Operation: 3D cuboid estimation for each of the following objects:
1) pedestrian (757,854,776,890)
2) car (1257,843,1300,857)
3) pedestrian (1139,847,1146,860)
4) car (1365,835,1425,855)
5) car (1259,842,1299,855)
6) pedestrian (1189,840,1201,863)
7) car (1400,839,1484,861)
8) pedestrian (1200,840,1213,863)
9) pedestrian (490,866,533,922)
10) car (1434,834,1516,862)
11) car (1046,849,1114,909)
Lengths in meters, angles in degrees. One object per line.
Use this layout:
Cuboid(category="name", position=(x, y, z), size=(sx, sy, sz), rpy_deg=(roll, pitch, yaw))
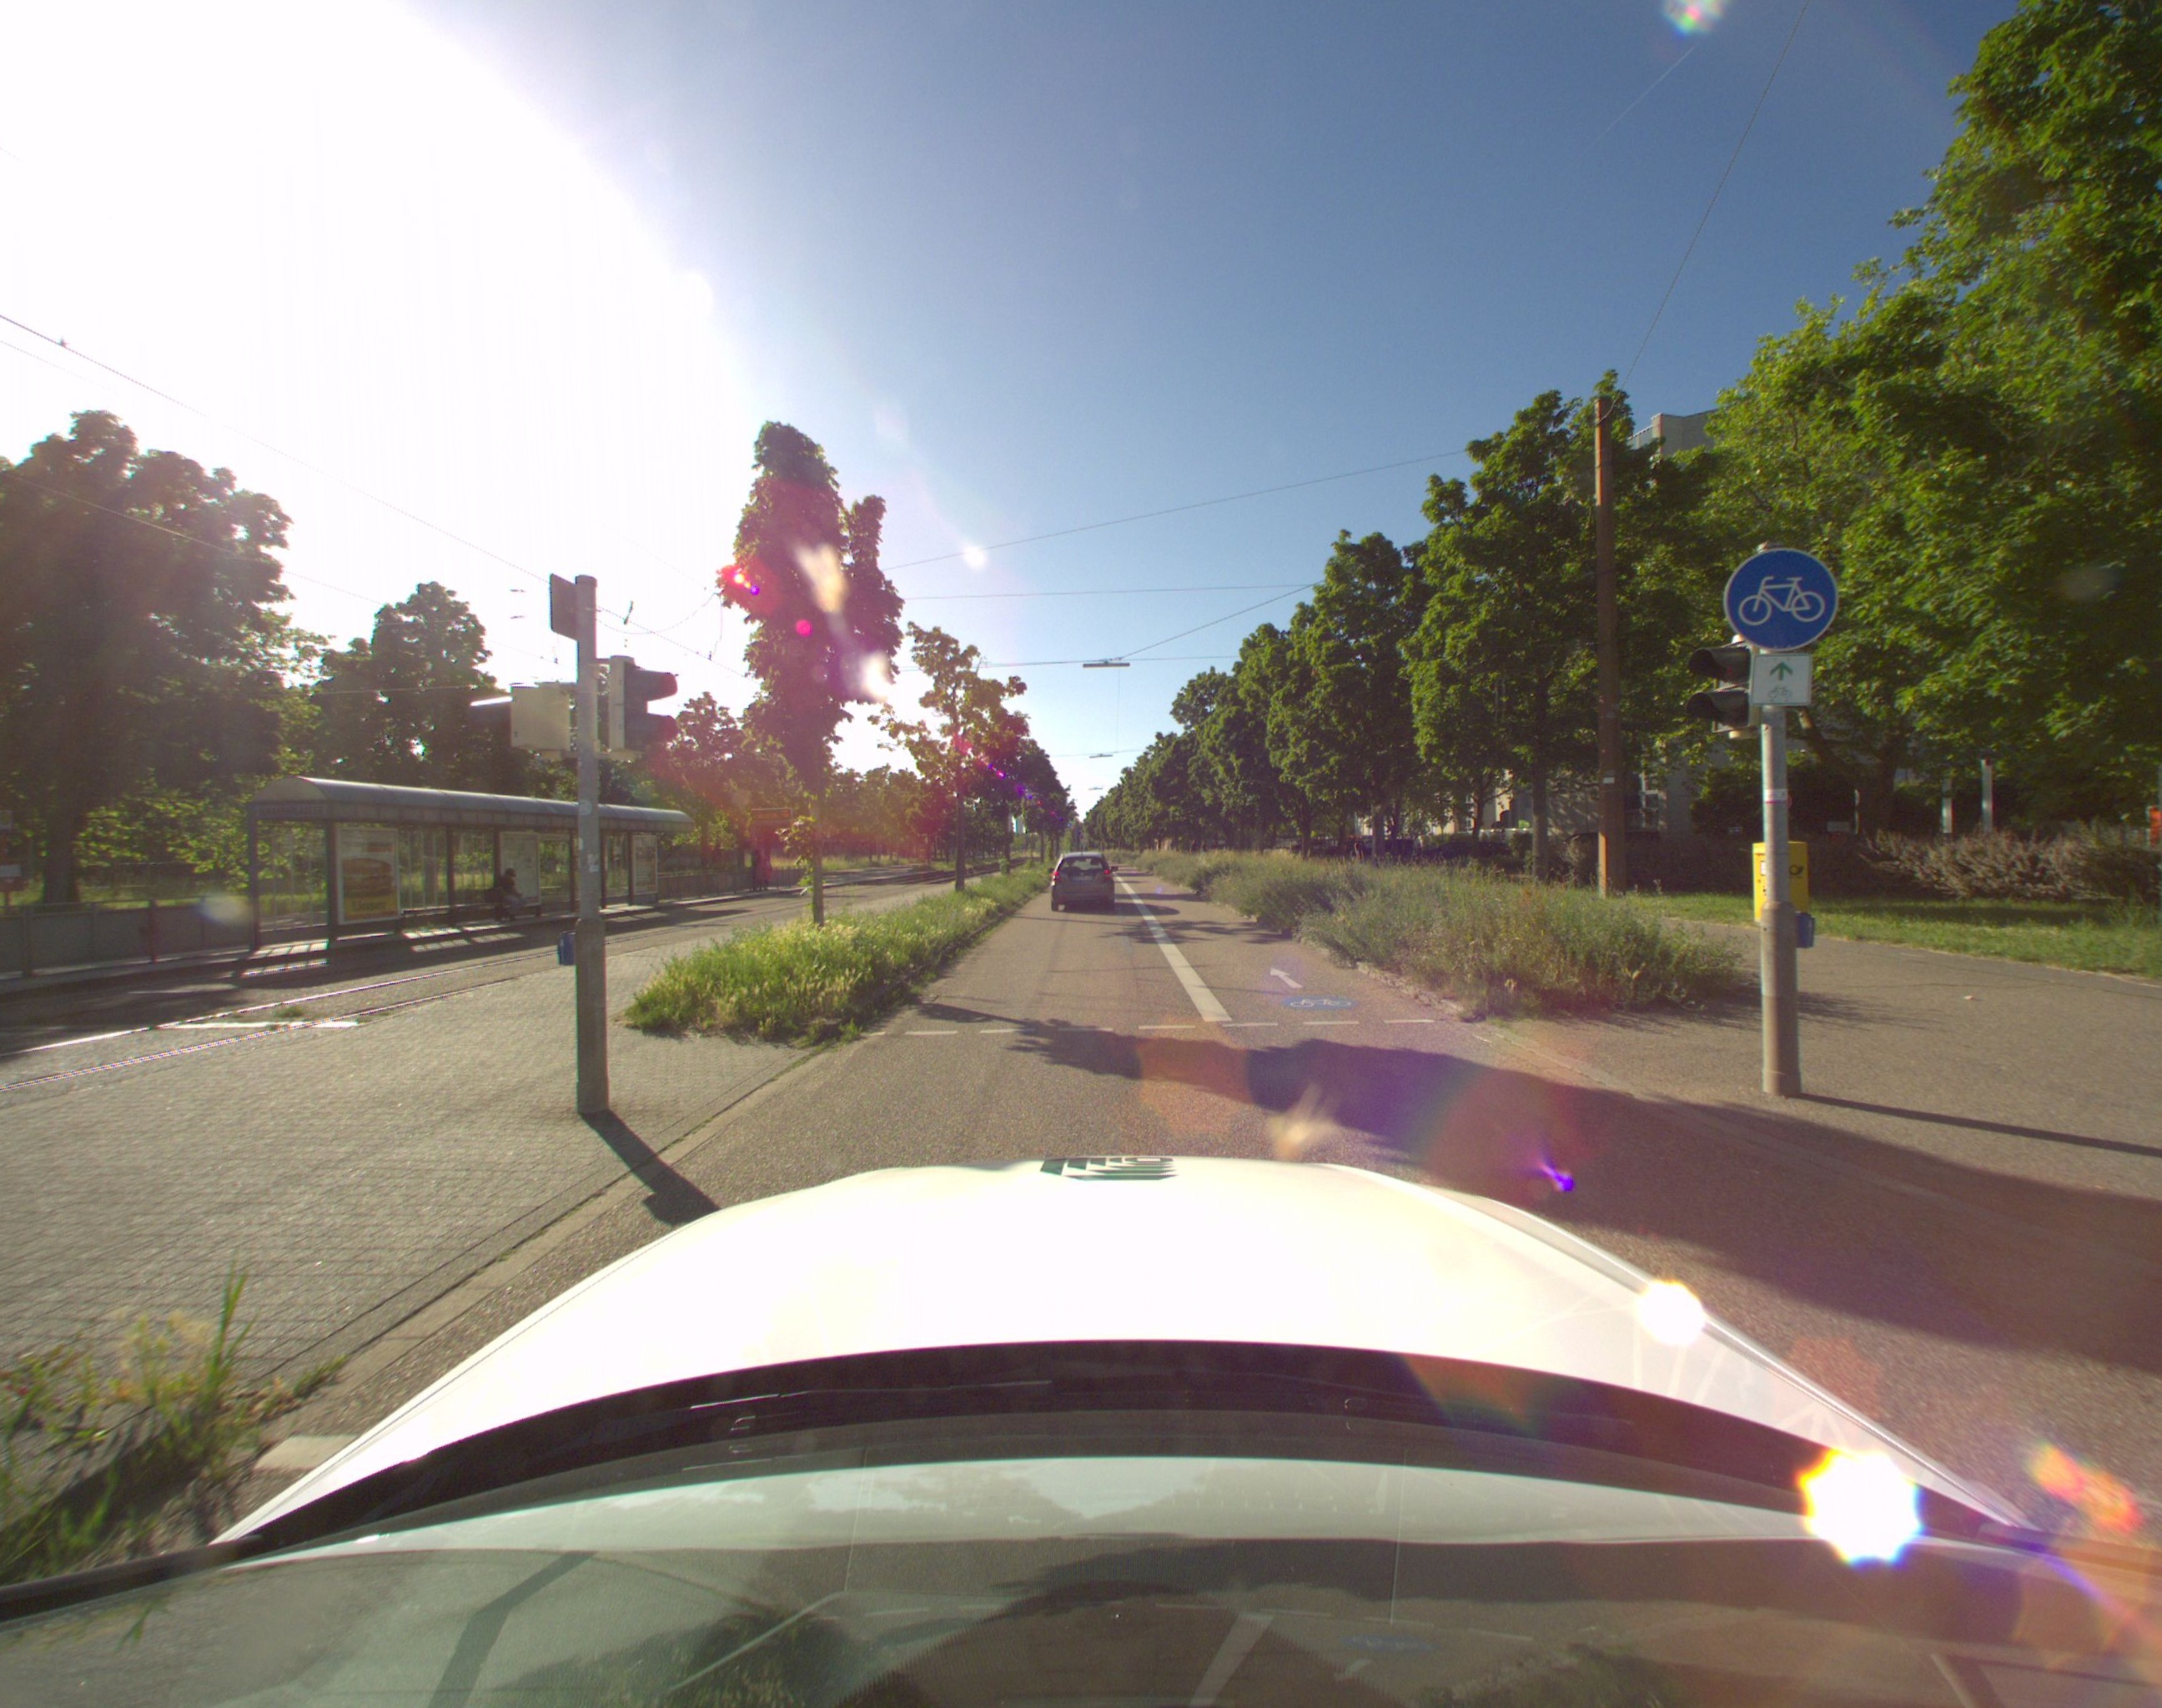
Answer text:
Cuboid(category="pedestrian", position=(-13.089, 0.739, 33.910), size=(0.542, 1.447, 0.559), rpy_deg=(-2, -1, 2))
Cuboid(category="car", position=(23.462, -0.467, 97.001), size=(4.621, 1.555, 1.997), rpy_deg=(-1, 0, -4))
Cuboid(category="pedestrian", position=(7.871, -0.069, 104.492), size=(0.722, 1.690, 0.821), rpy_deg=(-1, 0, 0))
Cuboid(category="car", position=(24.572, -0.694, 63.840), size=(3.948, 1.513, 2.013), rpy_deg=(-1, 0, 38))
Cuboid(category="car", position=(25.500, -0.736, 104.812), size=(4.621, 1.555, 1.997), rpy_deg=(-1, 0, -4))
Cuboid(category="pedestrian", position=(9.439, -0.240, 67.404), size=(0.879, 1.884, 0.875), rpy_deg=(-1, 0, -1))
Cuboid(category="car", position=(23.491, -0.264, 53.119), size=(4.625, 1.327, 2.105), rpy_deg=(-1, 0, 37))
Cuboid(category="pedestrian", position=(10.375, -0.235, 67.383), size=(0.879, 1.884, 0.875), rpy_deg=(-1, 0, -1))
Cuboid(category="pedestrian", position=(-13.512, 0.939, 19.338), size=(0.561, 1.257, 0.581), rpy_deg=(-3, -1, 1))
Cuboid(category="car", position=(24.053, -0.355, 49.764), size=(4.177, 1.555, 1.940), rpy_deg=(-1, 0, 37))
Cuboid(category="car", position=(0.052, 0.665, 22.504), size=(1.694, 1.524, 3.712), rpy_deg=(0, -1, 3))
